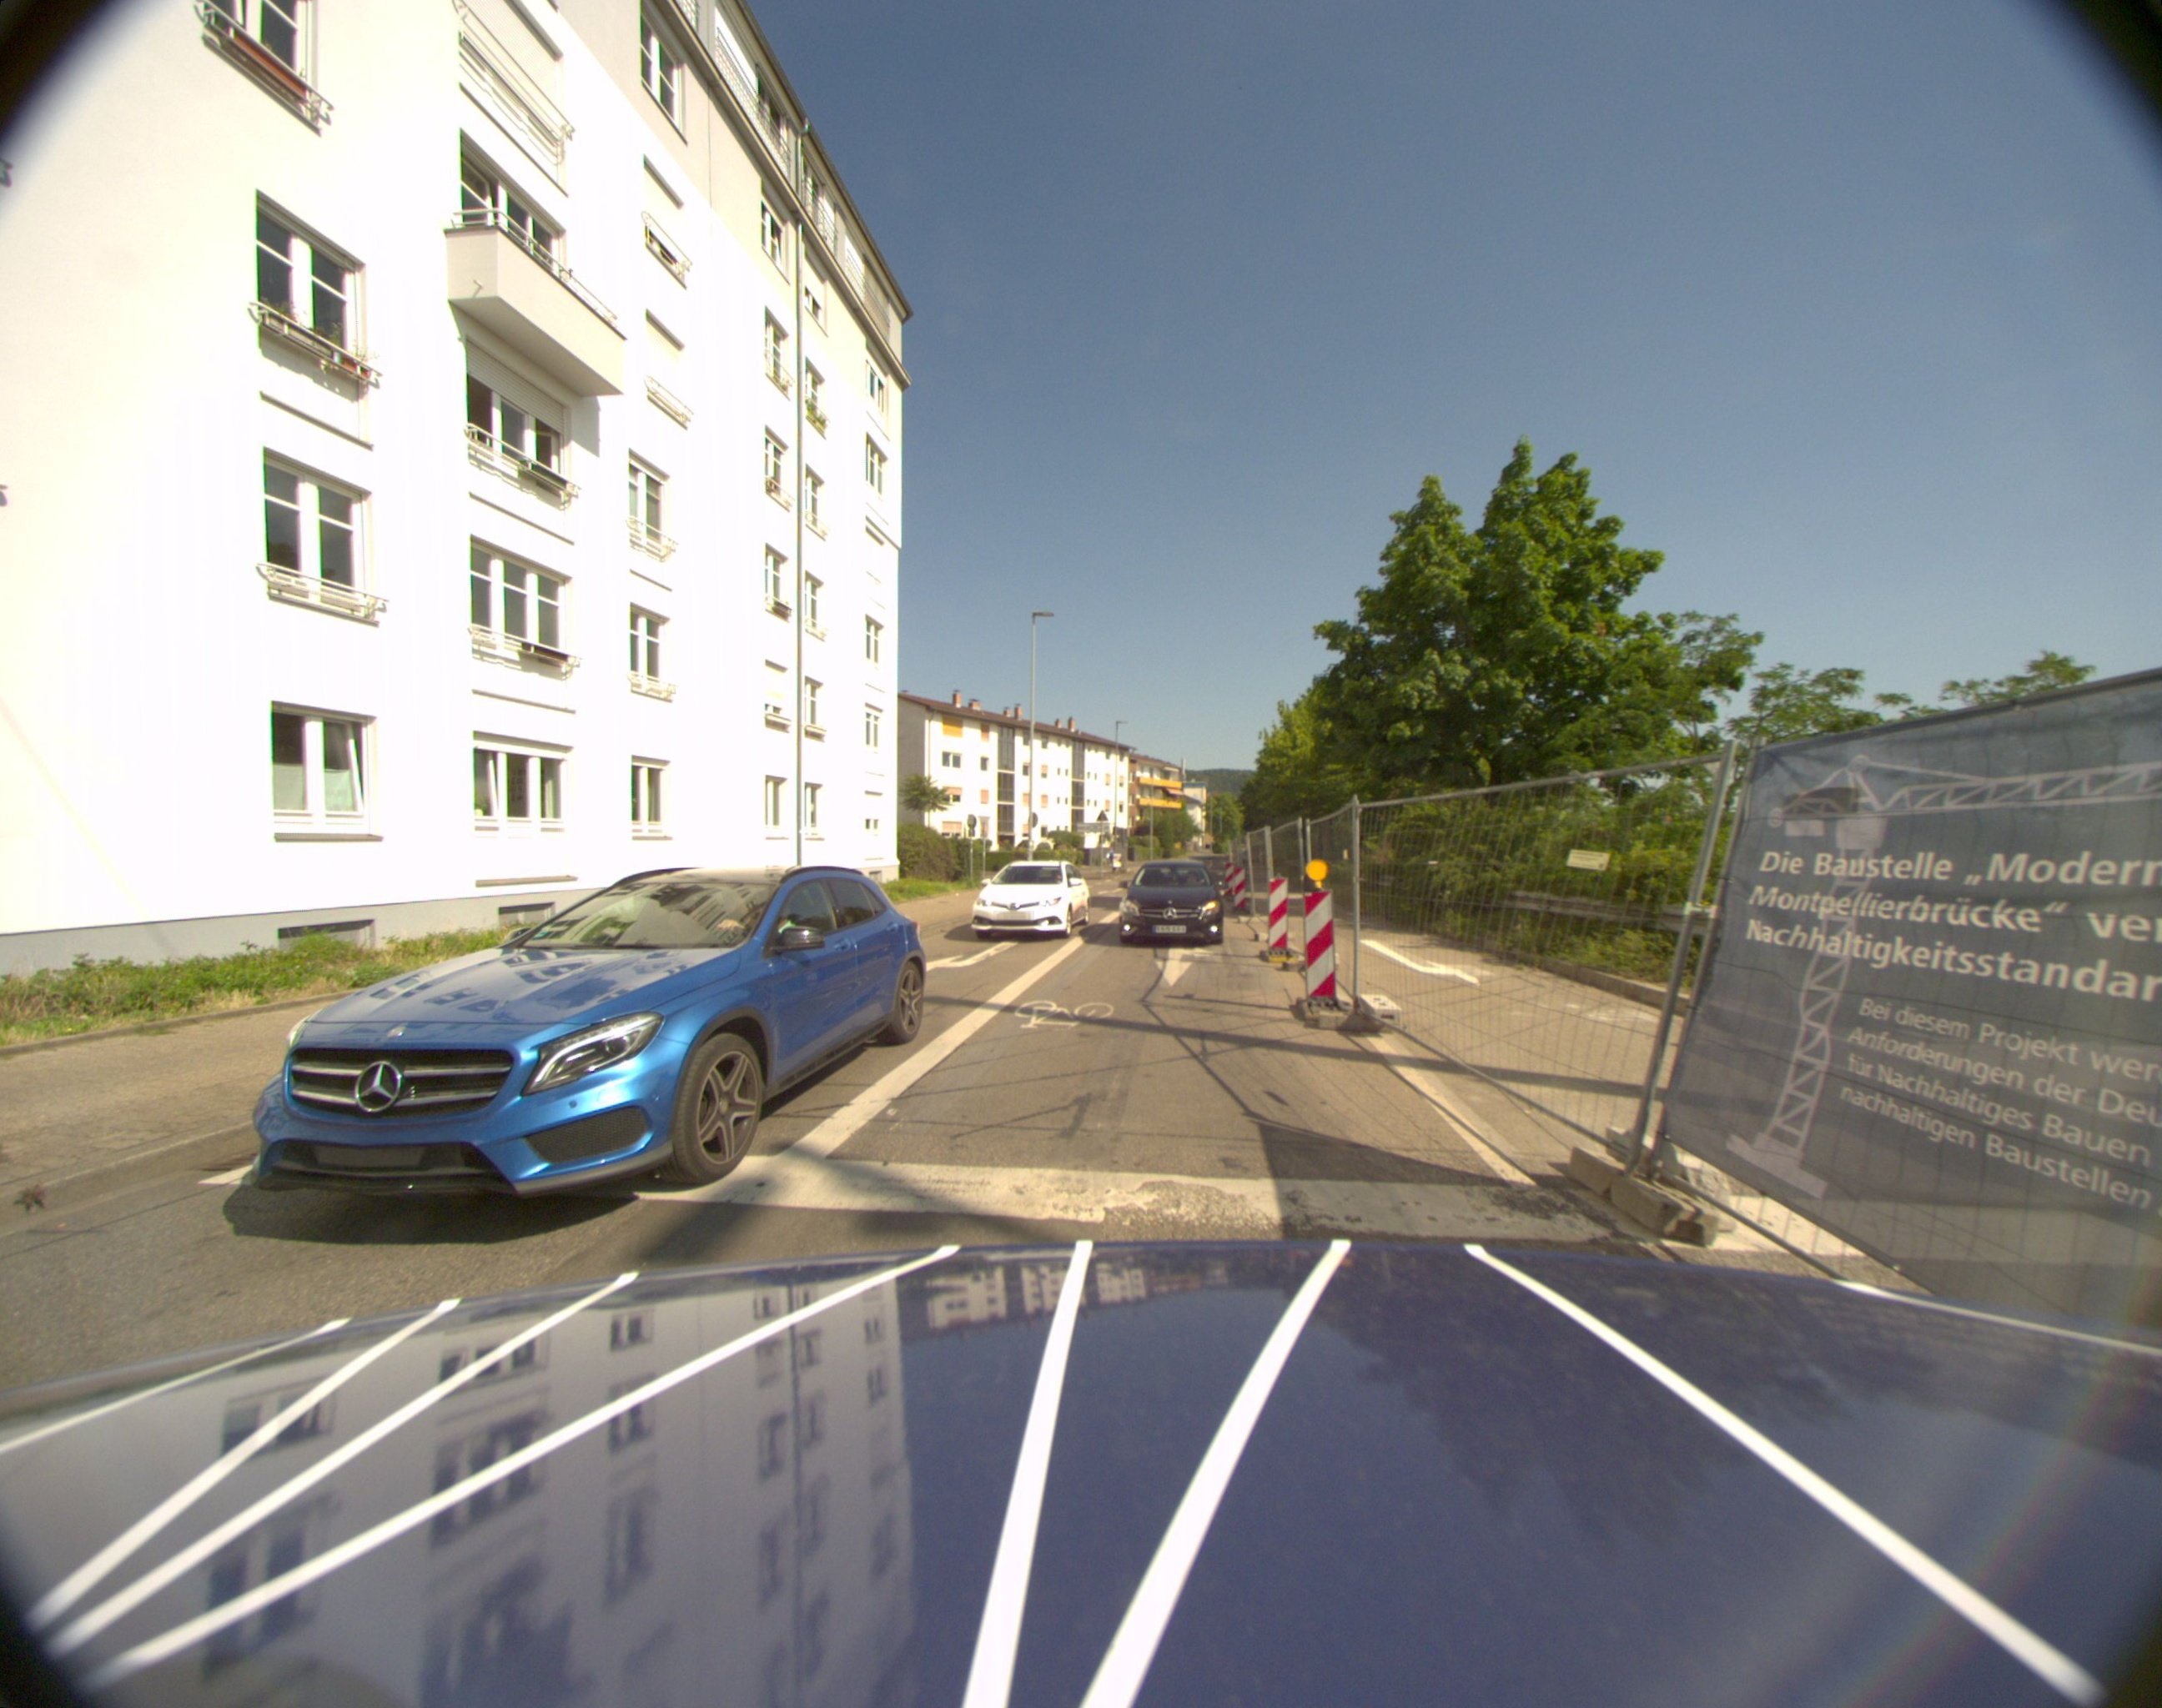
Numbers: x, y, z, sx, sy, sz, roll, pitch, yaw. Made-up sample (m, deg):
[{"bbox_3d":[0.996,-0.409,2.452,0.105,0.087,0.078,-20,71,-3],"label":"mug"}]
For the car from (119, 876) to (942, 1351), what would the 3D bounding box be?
[{"bbox_3d":[-2.383,0.963,4.924,1.674,1.472,4.552,-1,0,6],"label":"car"}]

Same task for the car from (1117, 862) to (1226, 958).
[{"bbox_3d":[1.718,0.902,14.278,1.701,1.400,4.625,0,1,7],"label":"car"}]

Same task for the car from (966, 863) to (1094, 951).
[{"bbox_3d":[-0.854,0.954,15.361,1.700,1.404,4.488,-1,1,7],"label":"car"}]

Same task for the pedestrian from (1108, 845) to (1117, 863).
[{"bbox_3d":[2.752,-0.019,66.340,0.607,1.501,0.771,0,2,12],"label":"pedestrian"}]
